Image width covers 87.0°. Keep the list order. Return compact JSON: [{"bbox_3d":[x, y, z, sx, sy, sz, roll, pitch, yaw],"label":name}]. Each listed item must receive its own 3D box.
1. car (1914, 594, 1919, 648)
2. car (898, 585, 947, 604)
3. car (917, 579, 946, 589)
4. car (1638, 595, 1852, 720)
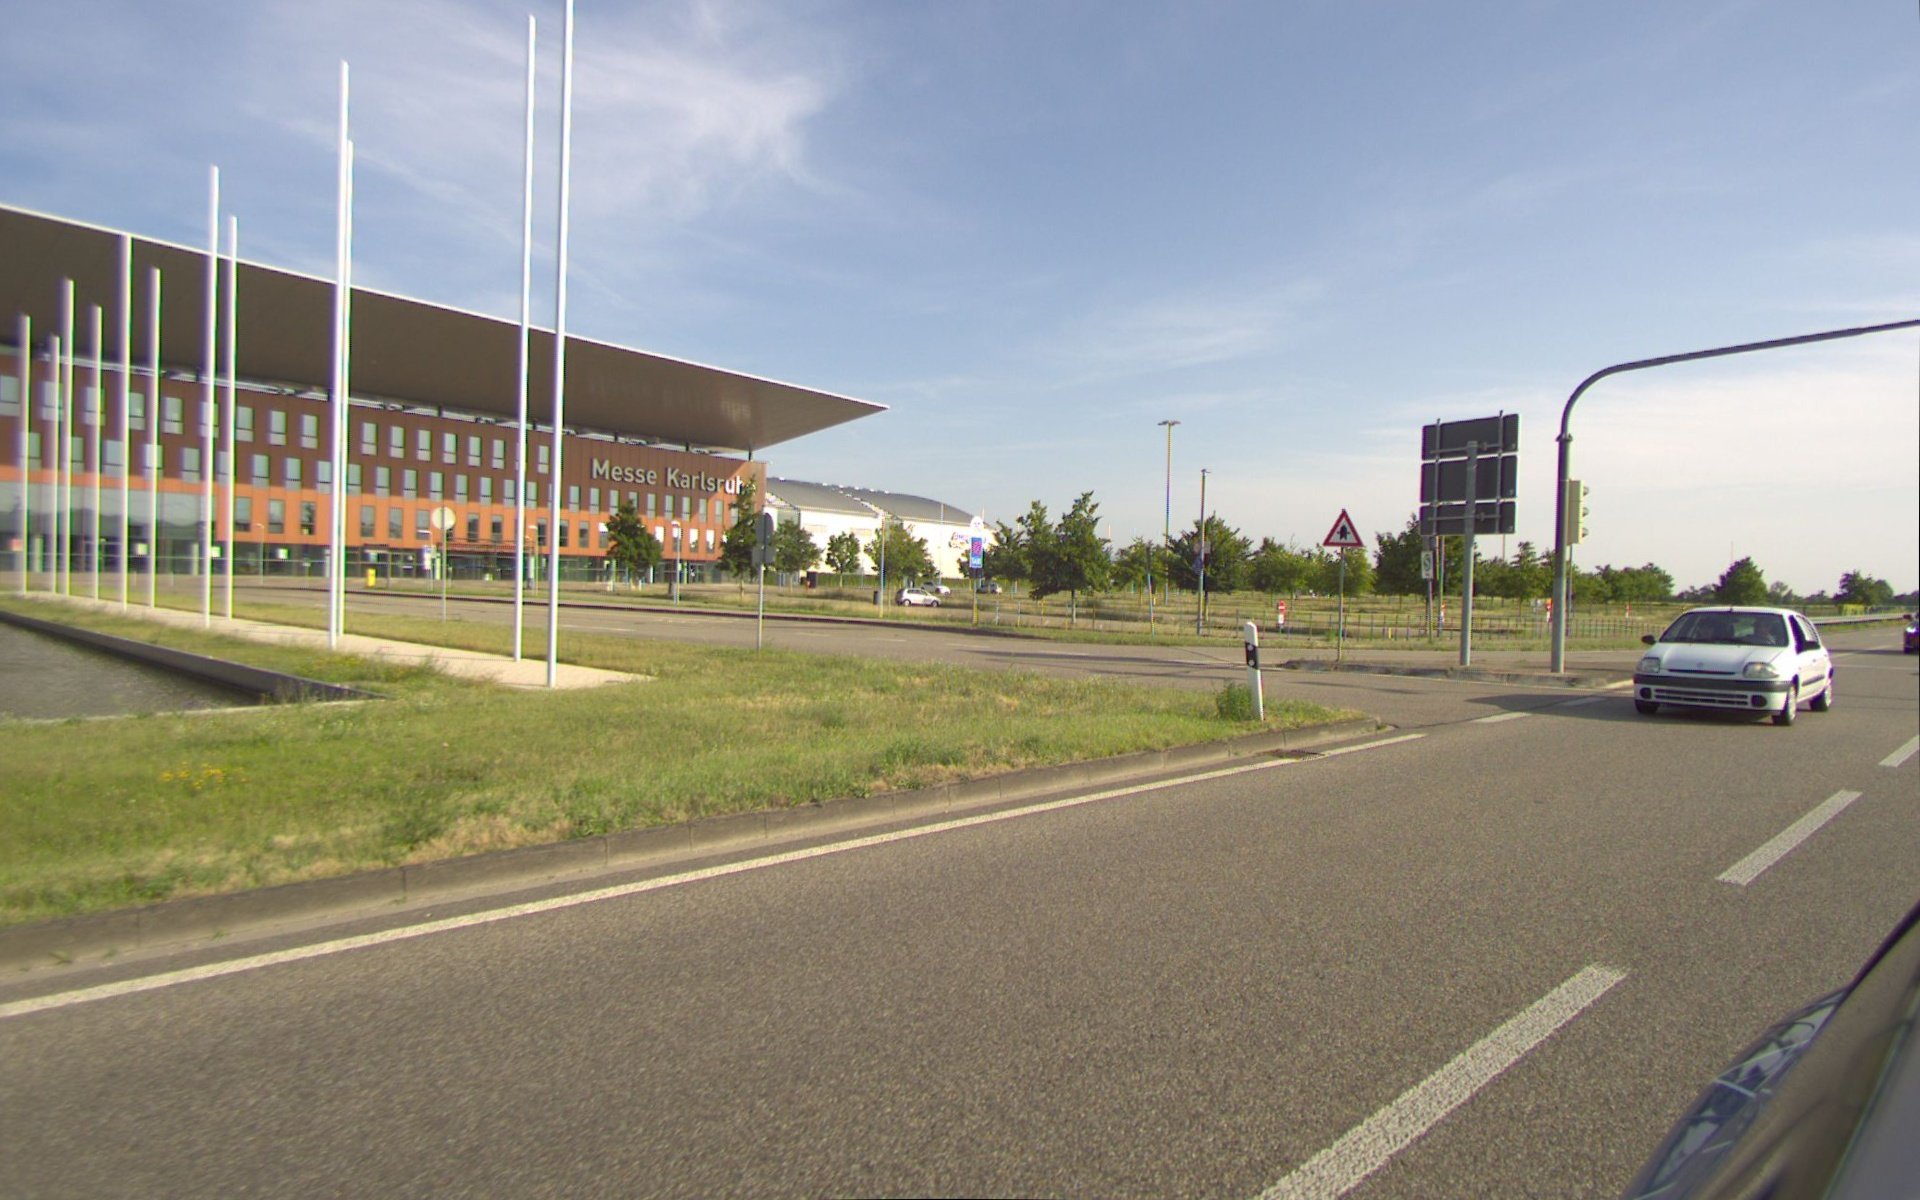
[{"bbox_3d":[29.457,0.621,29.693,3.674,1.540,1.750,0,1,-41],"label":"car"},{"bbox_3d":[-2.975,-0.452,79.803,3.493,1.473,1.714,1,0,-29],"label":"car"},{"bbox_3d":[-3.828,-2.115,134.941,1.461,1.295,4.202,1,1,-43],"label":"car"},{"bbox_3d":[10.325,0.659,13.244,3.391,1.396,1.577,0,1,-41],"label":"car"}]
